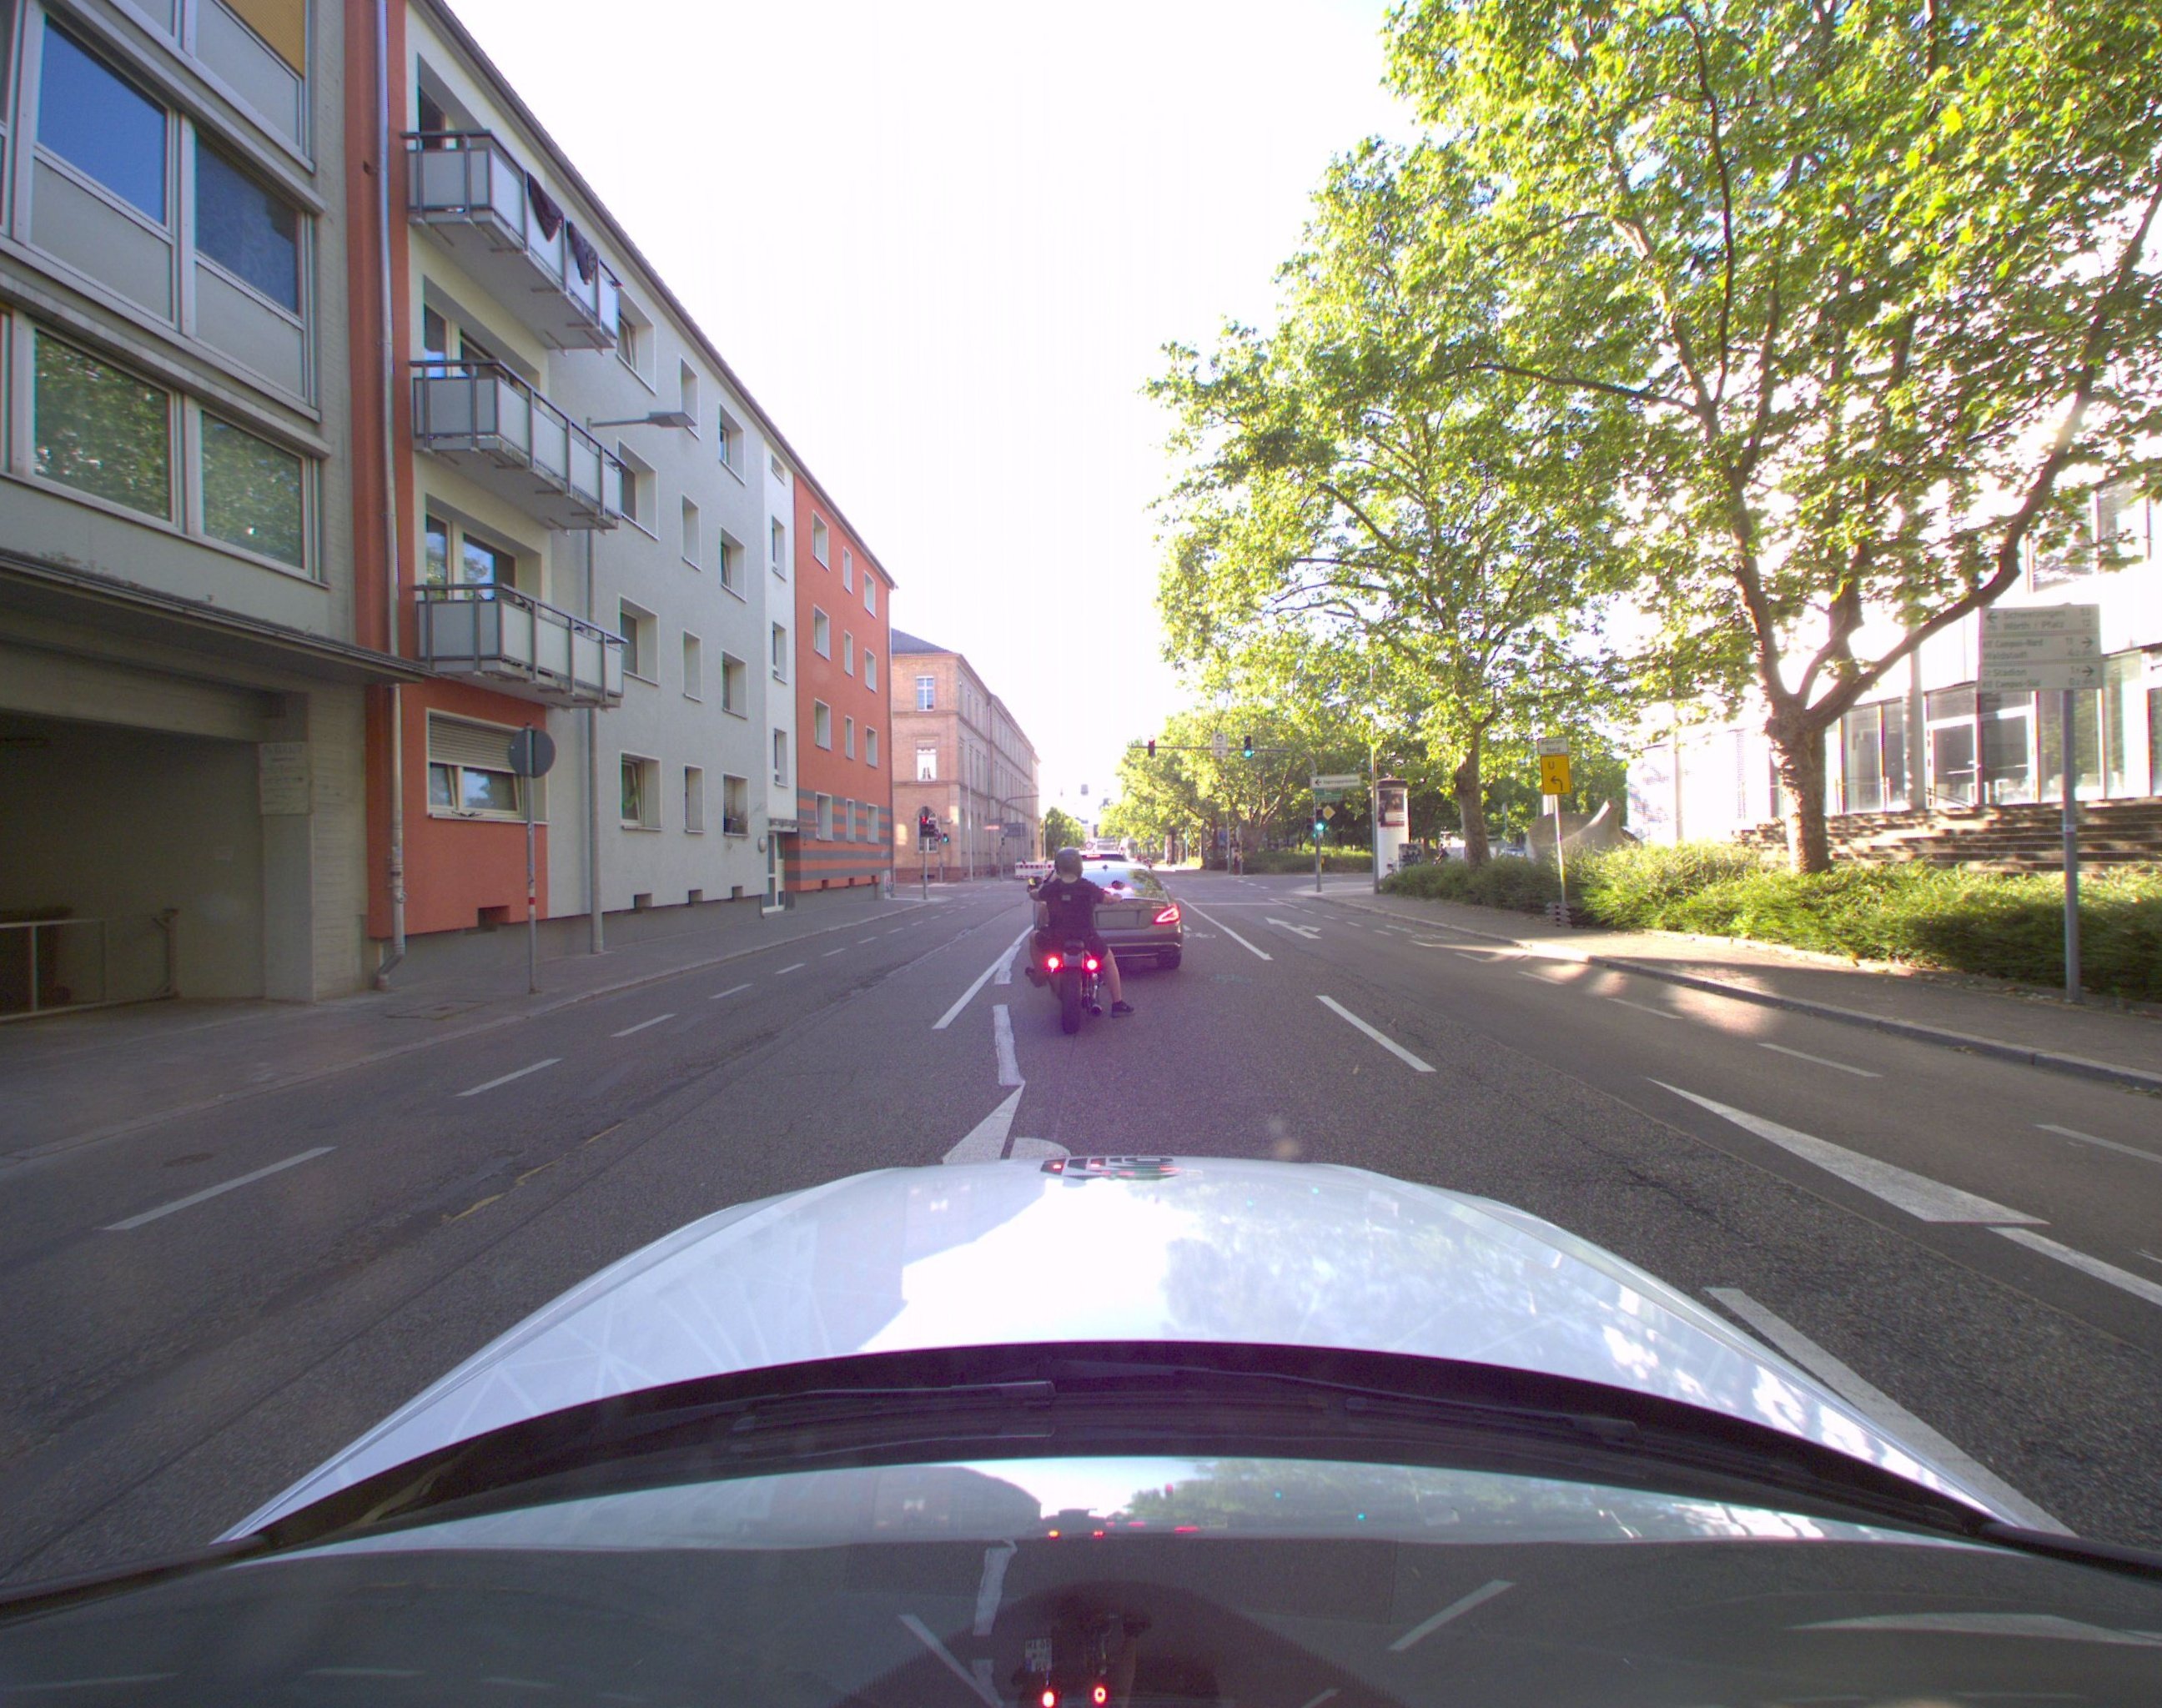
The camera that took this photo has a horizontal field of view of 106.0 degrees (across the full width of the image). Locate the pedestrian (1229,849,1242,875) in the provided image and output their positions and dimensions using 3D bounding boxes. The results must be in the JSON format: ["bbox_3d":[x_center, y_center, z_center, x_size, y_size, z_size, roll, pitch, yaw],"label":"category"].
[{"bbox_3d":[10.507,0.517,55.422,0.617,1.772,0.674,0,-1,-23],"label":"pedestrian"}]

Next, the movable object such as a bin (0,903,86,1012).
[{"bbox_3d":[-11.299,1.083,8.641,0.639,1.065,0.675,-1,0,1],"label":"movable object such as a bin"}]

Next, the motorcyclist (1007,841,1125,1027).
[{"bbox_3d":[-0.110,0.688,7.616,0.977,1.578,1.249,-1,0,1],"label":"motorcyclist"}]

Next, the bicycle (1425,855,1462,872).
[{"bbox_3d":[21.273,0.575,47.789,1.907,0.980,0.603,0,-1,7],"label":"bicycle"}]

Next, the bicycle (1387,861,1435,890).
[{"bbox_3d":[11.068,0.714,27.318,1.475,0.980,0.300,0,-1,7],"label":"bicycle"}]

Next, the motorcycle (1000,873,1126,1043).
[{"bbox_3d":[-0.102,0.855,7.685,0.977,1.275,2.408,-1,0,2],"label":"motorcycle"}]

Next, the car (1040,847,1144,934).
[{"bbox_3d":[0.279,0.723,17.667,1.986,1.665,4.001,0,-1,2],"label":"car"}]

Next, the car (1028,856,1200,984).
[{"bbox_3d":[0.254,0.770,11.740,1.867,1.444,4.421,-1,0,-6],"label":"car"}]

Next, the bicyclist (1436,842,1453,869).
[{"bbox_3d":[21.328,0.101,47.793,0.726,1.582,0.598,0,-1,7],"label":"bicyclist"}]
